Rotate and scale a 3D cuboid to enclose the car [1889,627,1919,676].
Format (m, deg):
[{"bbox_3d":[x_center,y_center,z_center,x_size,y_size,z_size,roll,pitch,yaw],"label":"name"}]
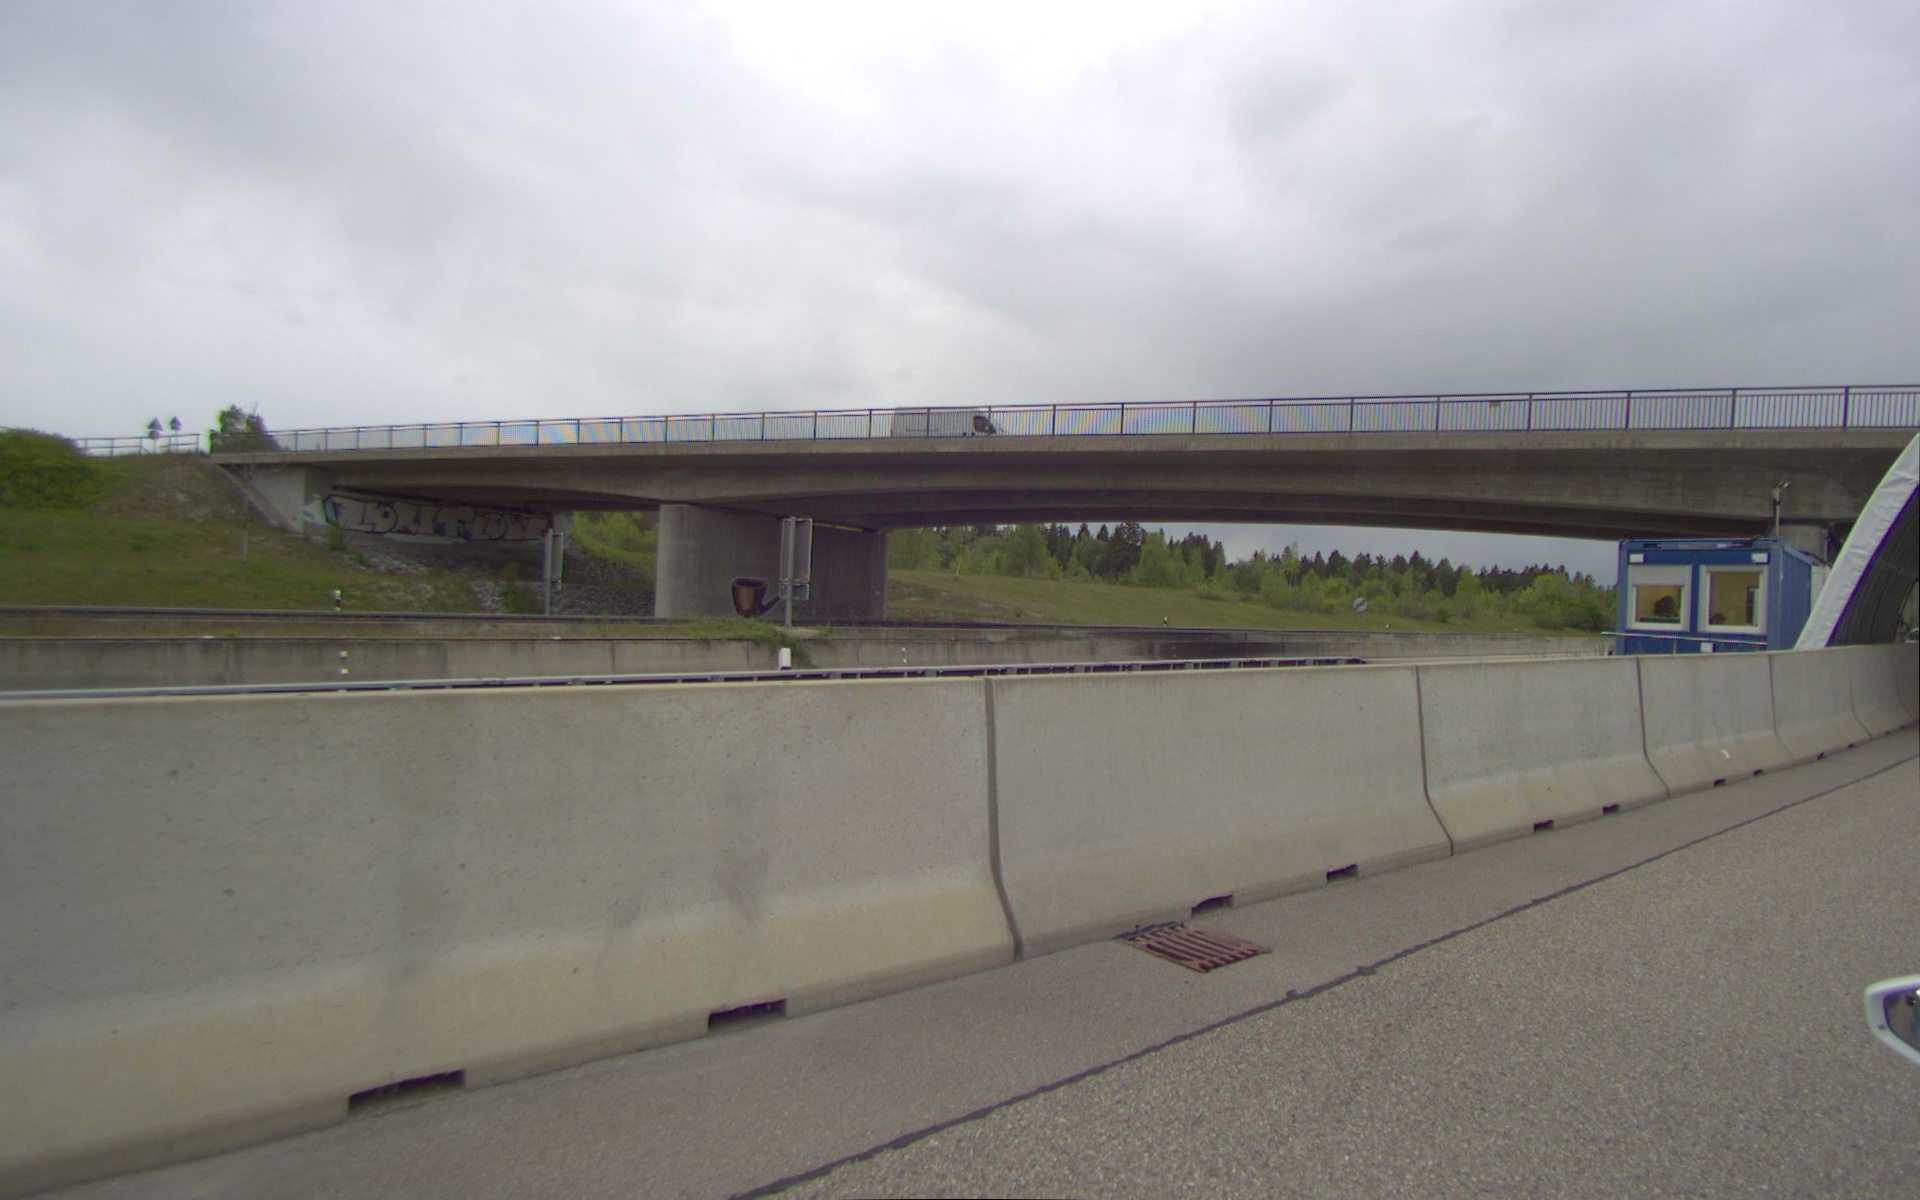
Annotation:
[{"bbox_3d":[37.761,1.981,37.650,1.686,1.878,3.976,2,-1,-24],"label":"car"}]

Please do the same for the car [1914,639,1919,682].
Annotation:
[{"bbox_3d":[32.686,2.031,32.573,1.491,1.461,3.314,1,-1,24],"label":"car"}]

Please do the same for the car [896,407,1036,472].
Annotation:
[{"bbox_3d":[0.224,-6.839,43.212,5.643,2.281,1.999,2,-1,24],"label":"car"}]
